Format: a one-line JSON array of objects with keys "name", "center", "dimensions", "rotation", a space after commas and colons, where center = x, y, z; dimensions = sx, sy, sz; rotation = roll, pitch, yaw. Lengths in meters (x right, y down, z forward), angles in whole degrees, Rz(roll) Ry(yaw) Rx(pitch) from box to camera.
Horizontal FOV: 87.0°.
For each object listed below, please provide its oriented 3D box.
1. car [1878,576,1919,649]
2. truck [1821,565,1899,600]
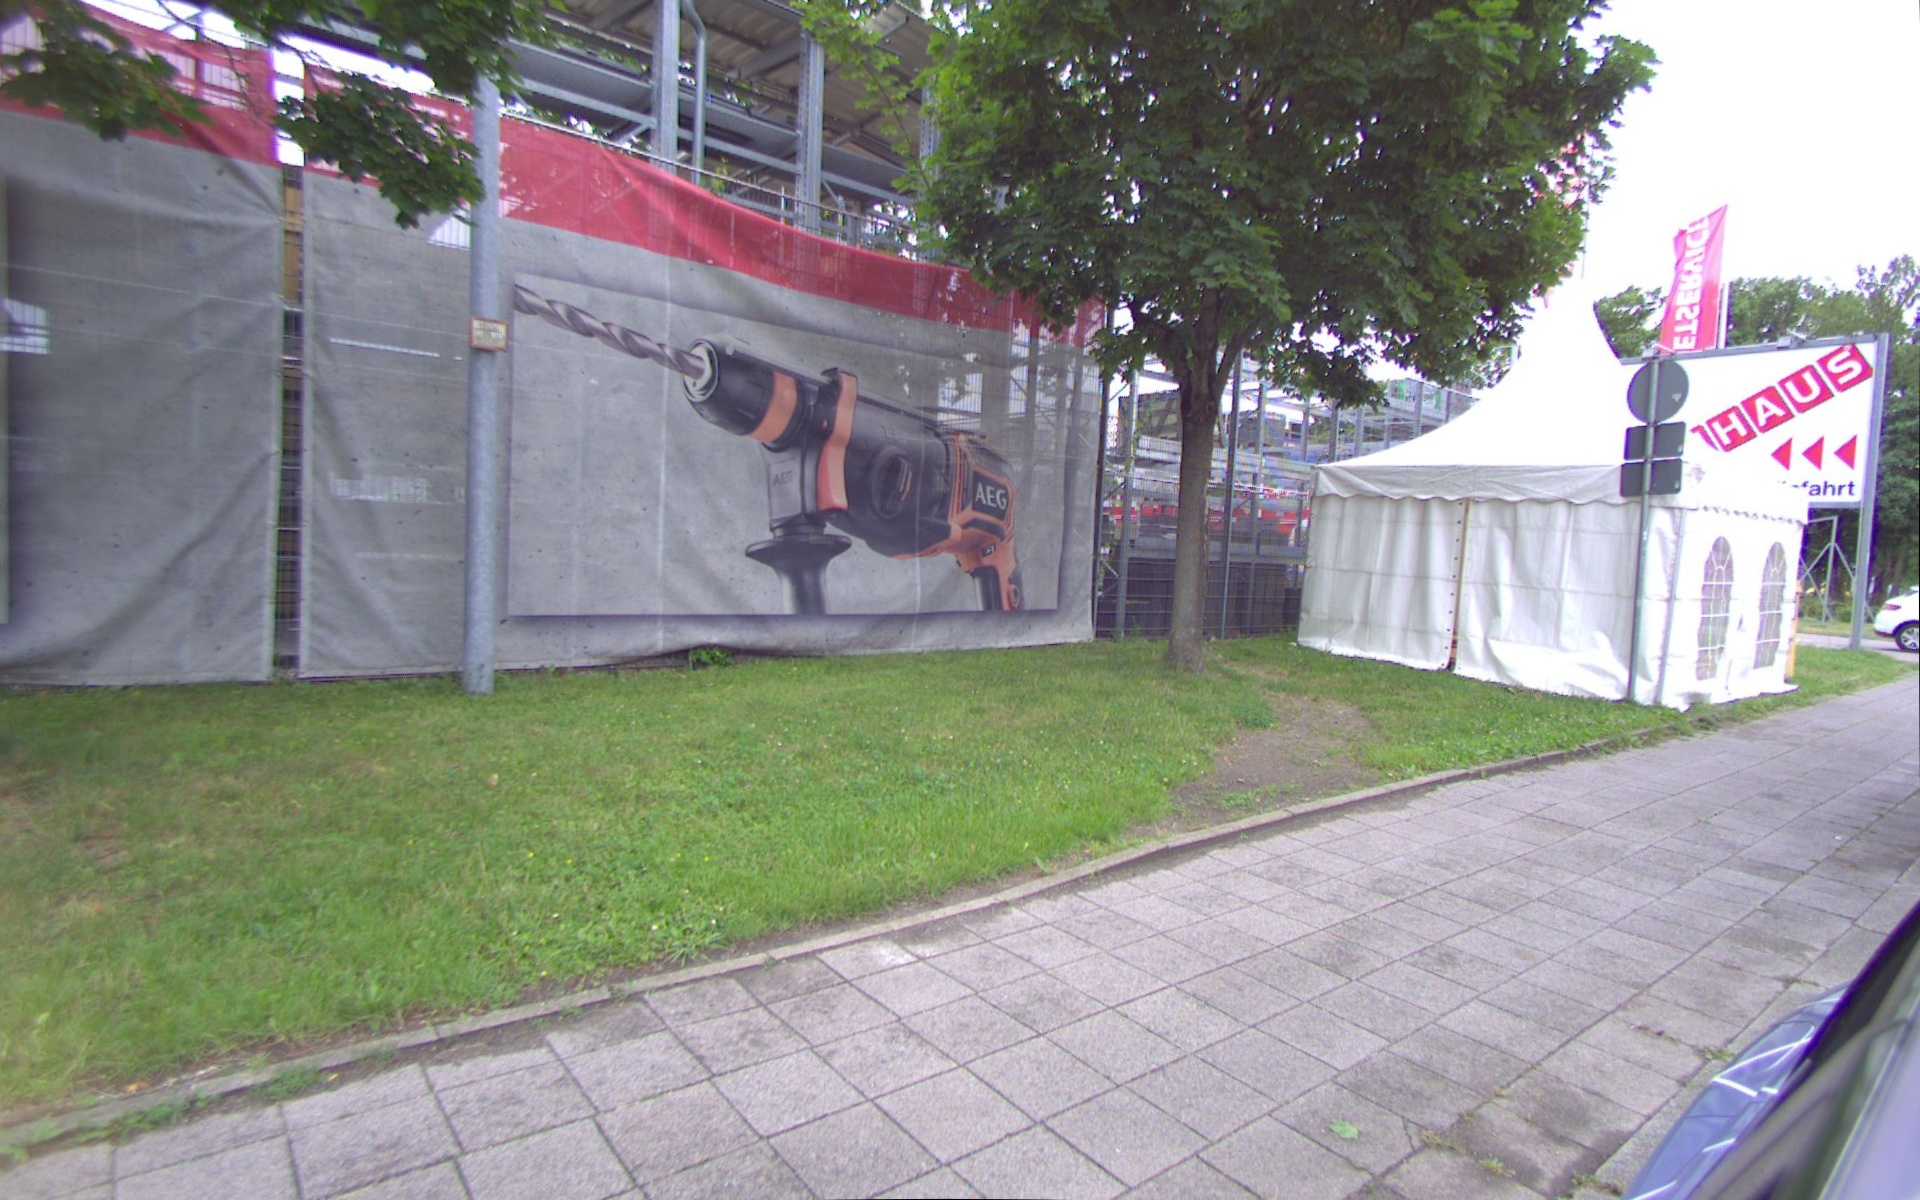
[{"name": "car", "center": [21.495, 0.344, 20.241], "dimensions": [1.908, 1.445, 4.485], "rotation": [-2, 5, -44]}, {"name": "truck", "center": [68.681, -1.355, 77.289], "dimensions": [3.925, 2.425, 2.001], "rotation": [3, 3, 1]}]
